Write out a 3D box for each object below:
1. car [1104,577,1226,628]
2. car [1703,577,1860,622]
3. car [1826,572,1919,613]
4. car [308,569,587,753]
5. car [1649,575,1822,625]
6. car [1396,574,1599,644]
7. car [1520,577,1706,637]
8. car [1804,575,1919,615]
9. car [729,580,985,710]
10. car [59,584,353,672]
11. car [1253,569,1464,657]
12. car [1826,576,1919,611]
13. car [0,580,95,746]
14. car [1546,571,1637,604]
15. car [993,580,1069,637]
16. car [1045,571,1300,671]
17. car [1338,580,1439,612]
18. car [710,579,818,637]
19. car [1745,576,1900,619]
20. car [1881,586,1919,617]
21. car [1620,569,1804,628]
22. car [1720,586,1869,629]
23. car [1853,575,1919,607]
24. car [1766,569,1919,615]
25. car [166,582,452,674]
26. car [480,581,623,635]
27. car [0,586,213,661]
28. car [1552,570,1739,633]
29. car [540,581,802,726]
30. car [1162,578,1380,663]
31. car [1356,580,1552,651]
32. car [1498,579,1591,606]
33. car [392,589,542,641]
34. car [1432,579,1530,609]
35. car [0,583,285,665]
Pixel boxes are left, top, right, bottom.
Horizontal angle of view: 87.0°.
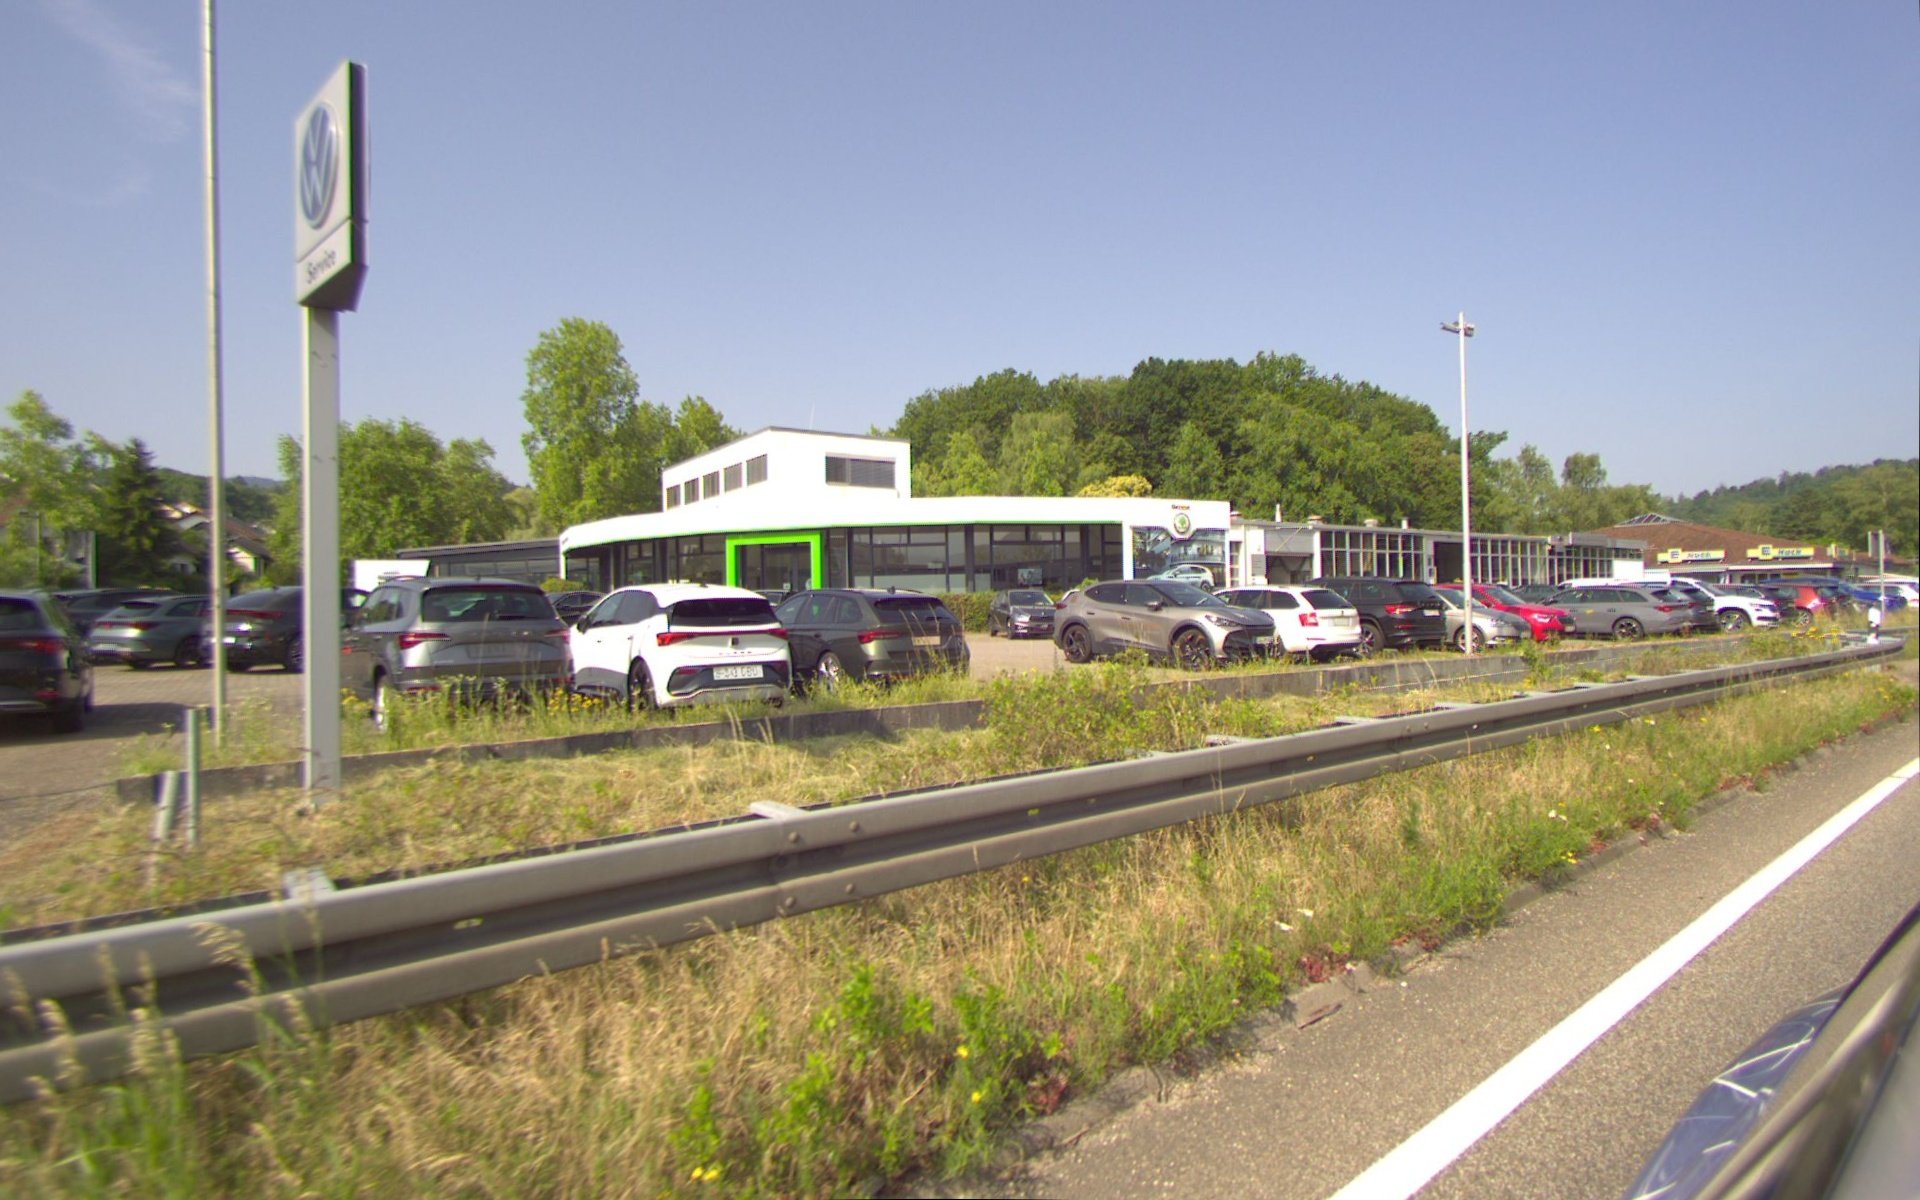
[{"bbox_3d":[6.708,0.017,33.751,1.753,1.584,4.731,0,1,-21],"label":"car"},{"bbox_3d":[27.280,-0.038,33.717,1.789,1.424,3.742,-1,1,-36],"label":"car"},{"bbox_3d":[38.560,-0.326,41.652,1.843,1.637,4.061,-1,1,-33],"label":"car"},{"bbox_3d":[-5.757,0.525,11.115,1.762,1.630,4.082,-1,1,-42],"label":"car"},{"bbox_3d":[24.637,-0.023,32.268,1.914,1.470,3.999,-1,1,-36],"label":"car"},{"bbox_3d":[13.156,0.161,24.989,1.748,1.571,4.096,-1,1,-35],"label":"car"},{"bbox_3d":[17.346,0.146,27.026,1.713,1.477,3.848,-1,1,-37],"label":"car"},{"bbox_3d":[36.078,-0.224,39.844,1.771,1.526,4.055,-1,1,-33],"label":"car"},{"bbox_3d":[-1.557,0.506,13.878,1.698,1.513,3.998,-1,1,-37],"label":"car"},{"bbox_3d":[-15.416,0.475,21.073,1.905,1.584,4.727,0,1,17],"label":"car"},{"bbox_3d":[8.343,0.204,21.500,1.804,1.684,3.894,-1,1,-31],"label":"car"},{"bbox_3d":[41.414,-0.324,44.772,1.843,1.513,4.365,-1,1,-33],"label":"car"},{"bbox_3d":[-10.222,0.572,10.534,1.810,1.505,3.994,-1,1,-40],"label":"car"},{"bbox_3d":[38.055,-0.788,61.108,1.757,1.948,4.324,-1,1,-35],"label":"car"},{"bbox_3d":[2.079,0.197,30.583,1.755,1.584,4.360,0,1,-3],"label":"car"},{"bbox_3d":[3.769,0.295,18.622,1.822,1.620,4.457,-1,1,-39],"label":"car"},{"bbox_3d":[21.053,-0.234,49.890,1.758,1.483,4.322,-1,1,-37],"label":"car"},{"bbox_3d":[-5.631,0.167,29.660,1.761,1.584,4.346,0,1,9],"label":"car"},{"bbox_3d":[31.659,-0.102,37.242,1.914,1.470,3.999,-1,1,-36],"label":"car"},{"bbox_3d":[50.812,0.099,52.637,1.771,1.571,4.001,-1,1,-34],"label":"car"},{"bbox_3d":[22.305,-0.067,30.159,1.883,1.652,4.003,-1,1,-31],"label":"car"},{"bbox_3d":[29.416,0.236,35.753,1.746,1.446,3.744,-1,1,-36],"label":"car"},{"bbox_3d":[47.772,-0.448,50.653,1.995,1.571,4.295,-1,1,-37],"label":"car"},{"bbox_3d":[34.035,-0.315,38.958,1.913,1.660,4.371,-1,1,-34],"label":"car"},{"bbox_3d":[-12.735,0.447,20.223,1.905,1.584,4.727,0,1,17],"label":"car"},{"bbox_3d":[-13.114,0.195,32.801,1.771,1.584,4.322,0,1,23],"label":"car"},{"bbox_3d":[-20.625,0.481,23.778,1.983,1.565,4.570,0,1,26],"label":"car"},{"bbox_3d":[19.347,0.022,28.727,1.884,1.652,4.001,-1,1,-34],"label":"car"},{"bbox_3d":[-3.753,0.538,12.690,1.758,1.513,3.996,-1,1,-39],"label":"car"},{"bbox_3d":[6.044,0.329,20.115,1.689,1.504,4.052,-1,1,-31],"label":"car"},{"bbox_3d":[11.246,0.291,23.265,1.633,1.477,3.744,-1,1,-35],"label":"car"},{"bbox_3d":[33.482,-0.467,58.076,1.757,1.483,4.322,-1,1,-37],"label":"car"},{"bbox_3d":[-16.537,0.444,34.131,1.776,1.584,4.309,1,1,31],"label":"car"},{"bbox_3d":[27.858,-0.339,54.207,1.757,1.544,4.322,-1,1,-37],"label":"car"},{"bbox_3d":[-17.902,0.433,22.394,1.908,1.584,4.720,0,1,21],"label":"car"}]
